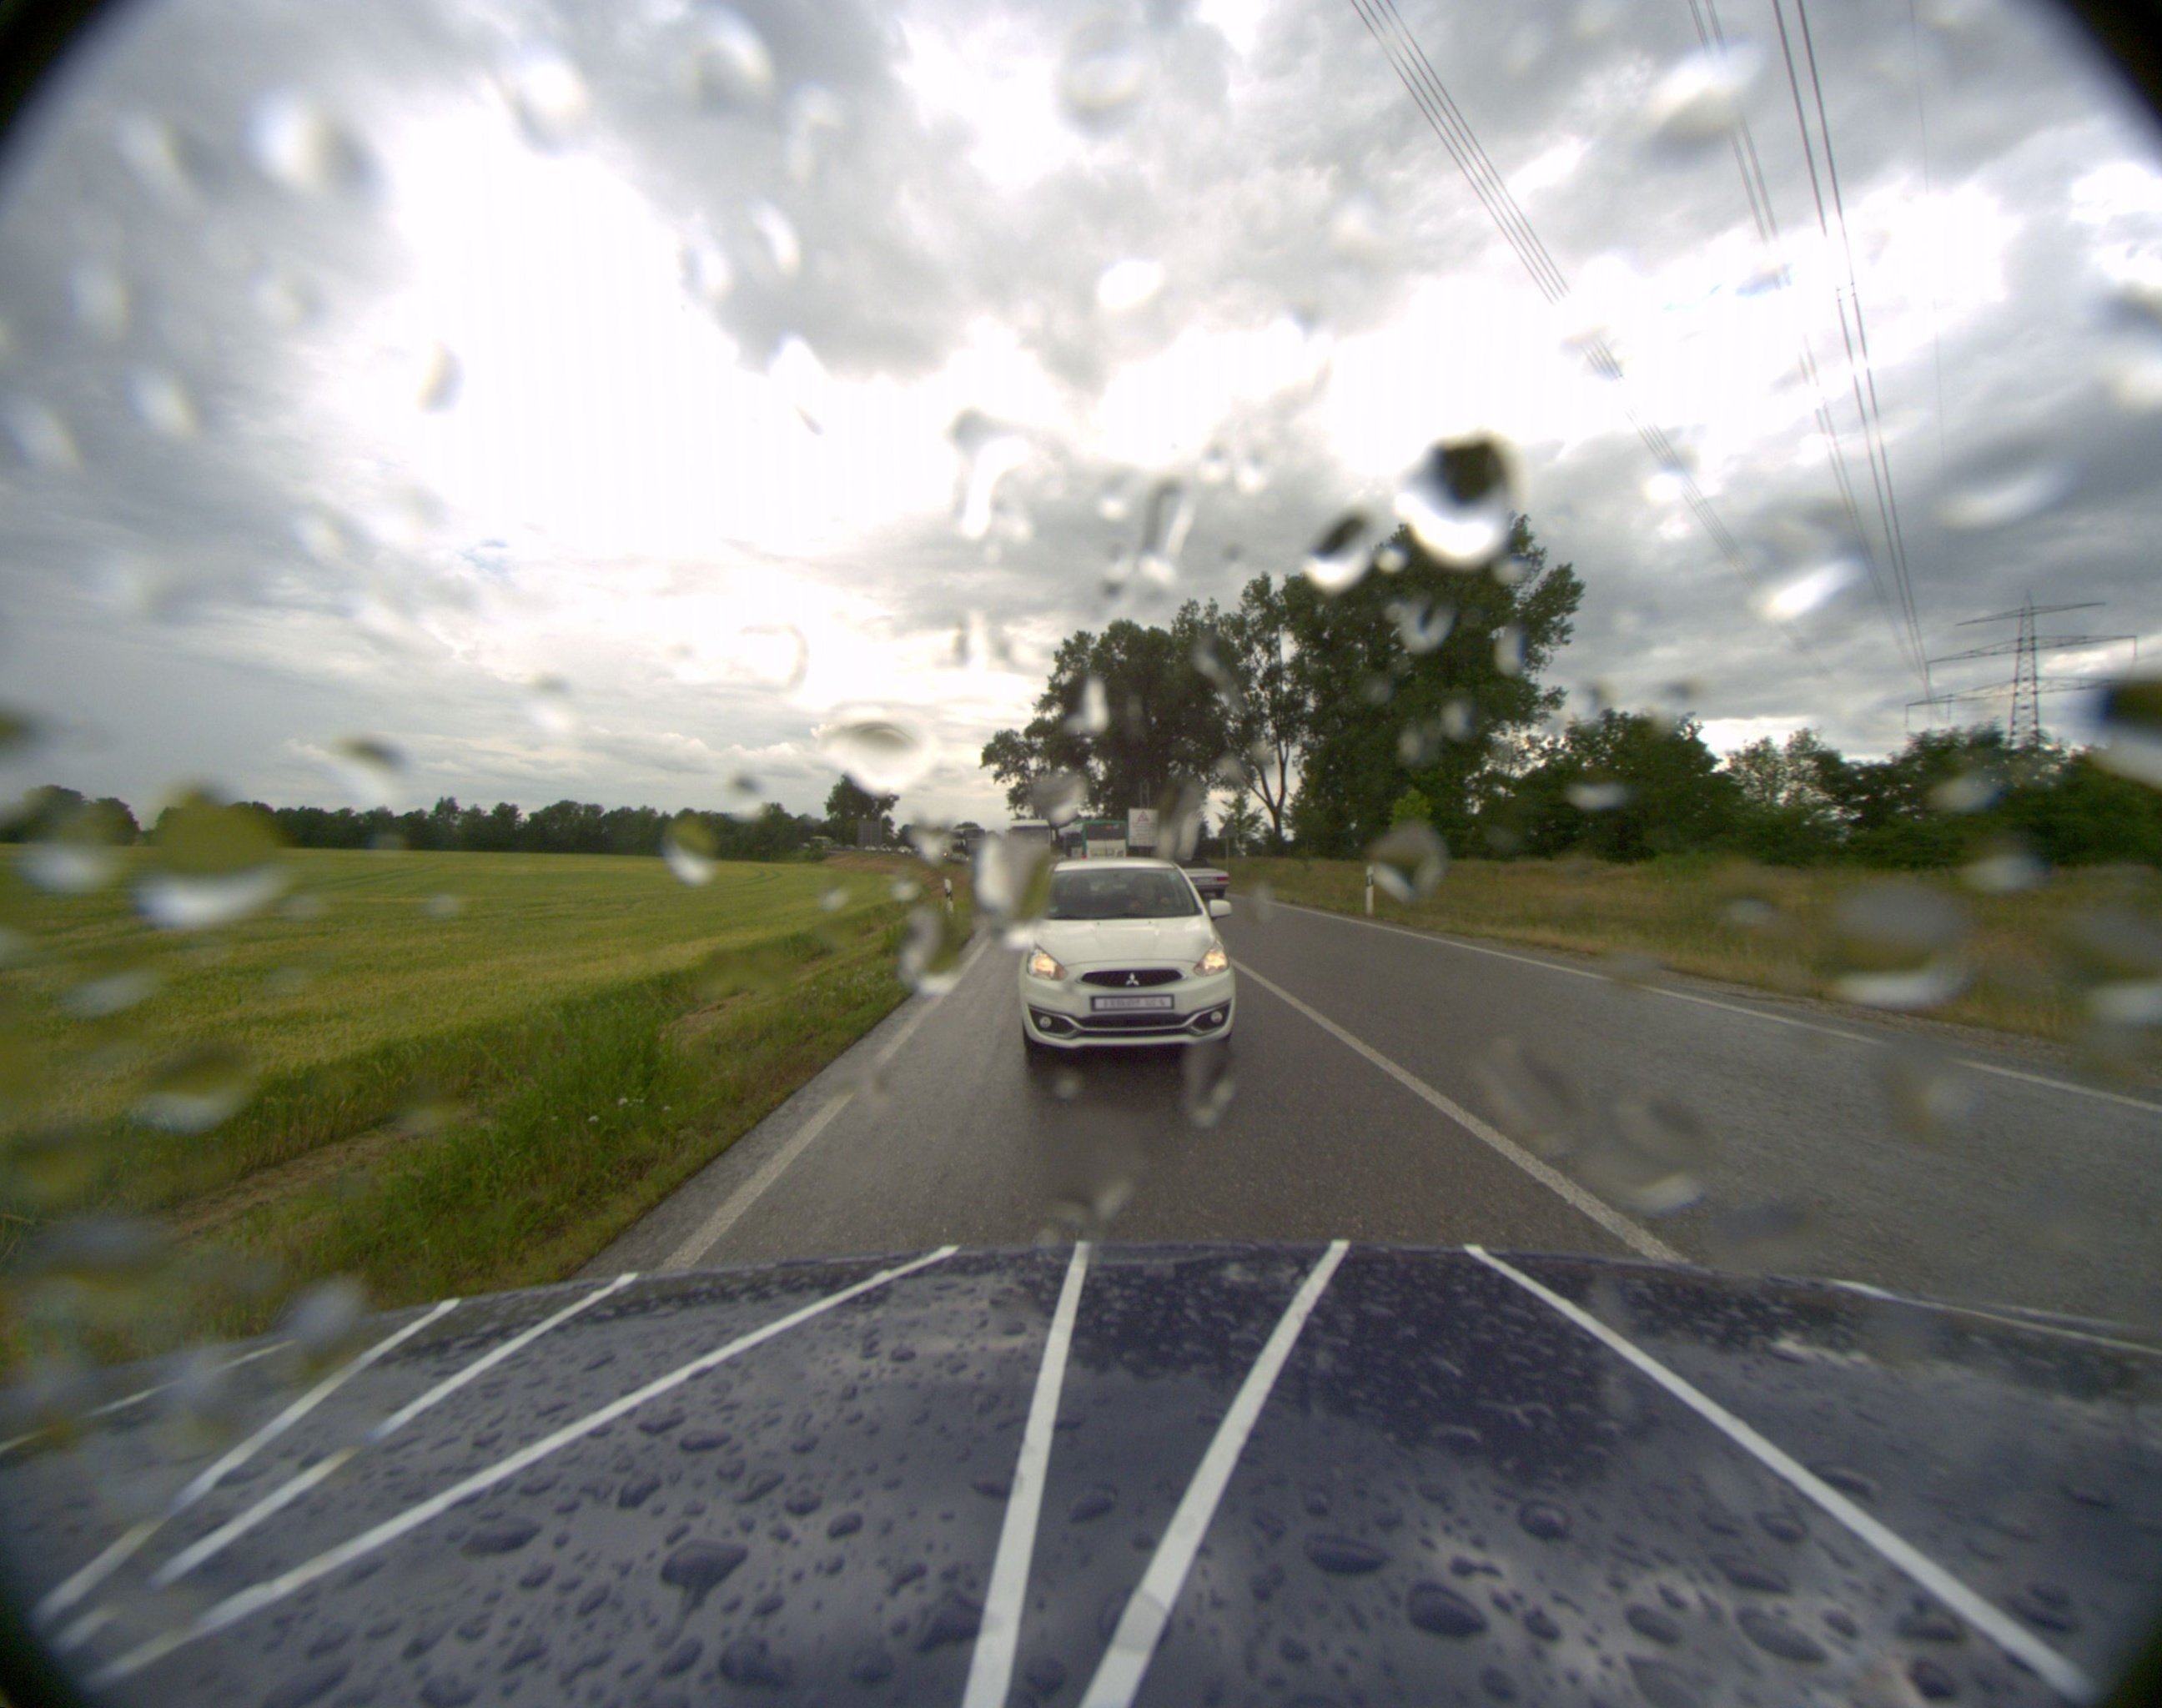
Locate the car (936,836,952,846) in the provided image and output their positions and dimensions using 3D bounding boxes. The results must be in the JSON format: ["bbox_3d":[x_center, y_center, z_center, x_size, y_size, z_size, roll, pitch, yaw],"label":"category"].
[{"bbox_3d":[-27.988,-2.582,155.354,2.003,2.002,4.110,-3,2,-29],"label":"car"}]

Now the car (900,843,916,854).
[{"bbox_3d":[-31.889,-1.006,140.036,2.002,2.002,4.223,-3,2,-23],"label":"car"}]

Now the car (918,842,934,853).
[{"bbox_3d":[-29.695,-1.324,145.223,1.891,2.002,4.287,-3,2,-26],"label":"car"}]

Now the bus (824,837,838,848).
[{"bbox_3d":[-68.974,-3.253,209.357,2.003,2.899,6.991,-3,2,-32],"label":"bus"}]

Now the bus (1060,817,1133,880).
[{"bbox_3d":[0.663,-0.328,46.755,2.766,3.279,12.493,-2,0,-6],"label":"bus"}]

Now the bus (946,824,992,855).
[{"bbox_3d":[-13.530,-1.831,90.690,2.968,3.294,14.810,-3,2,-18],"label":"bus"}]

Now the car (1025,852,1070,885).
[{"bbox_3d":[-1.683,0.654,37.011,1.782,1.380,4.324,-2,2,-8],"label":"car"}]

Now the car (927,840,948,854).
[{"bbox_3d":[-21.839,-1.028,115.478,2.002,2.002,5.325,-3,2,-23],"label":"car"}]

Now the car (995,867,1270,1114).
[{"bbox_3d":[0.269,0.868,6.692,1.653,1.461,4.030,-2,-1,-2],"label":"car"}]

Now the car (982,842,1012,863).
[{"bbox_3d":[-8.025,-0.140,72.078,2.044,1.832,5.328,-2,2,-15],"label":"car"}]

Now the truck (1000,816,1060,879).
[{"bbox_3d":[-3.293,-0.451,47.525,2.986,3.590,6.073,-2,2,-10],"label":"truck"}]

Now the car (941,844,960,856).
[{"bbox_3d":[-17.986,-0.597,104.406,1.816,1.569,3.992,-3,2,-20],"label":"car"}]

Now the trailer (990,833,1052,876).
[{"bbox_3d":[-4.723,-0.148,55.993,2.986,2.618,15.664,-2,2,-10],"label":"trailer"}]

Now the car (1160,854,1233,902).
[{"bbox_3d":[3.662,0.718,24.699,1.723,1.244,3.999,-2,2,0],"label":"car"}]
